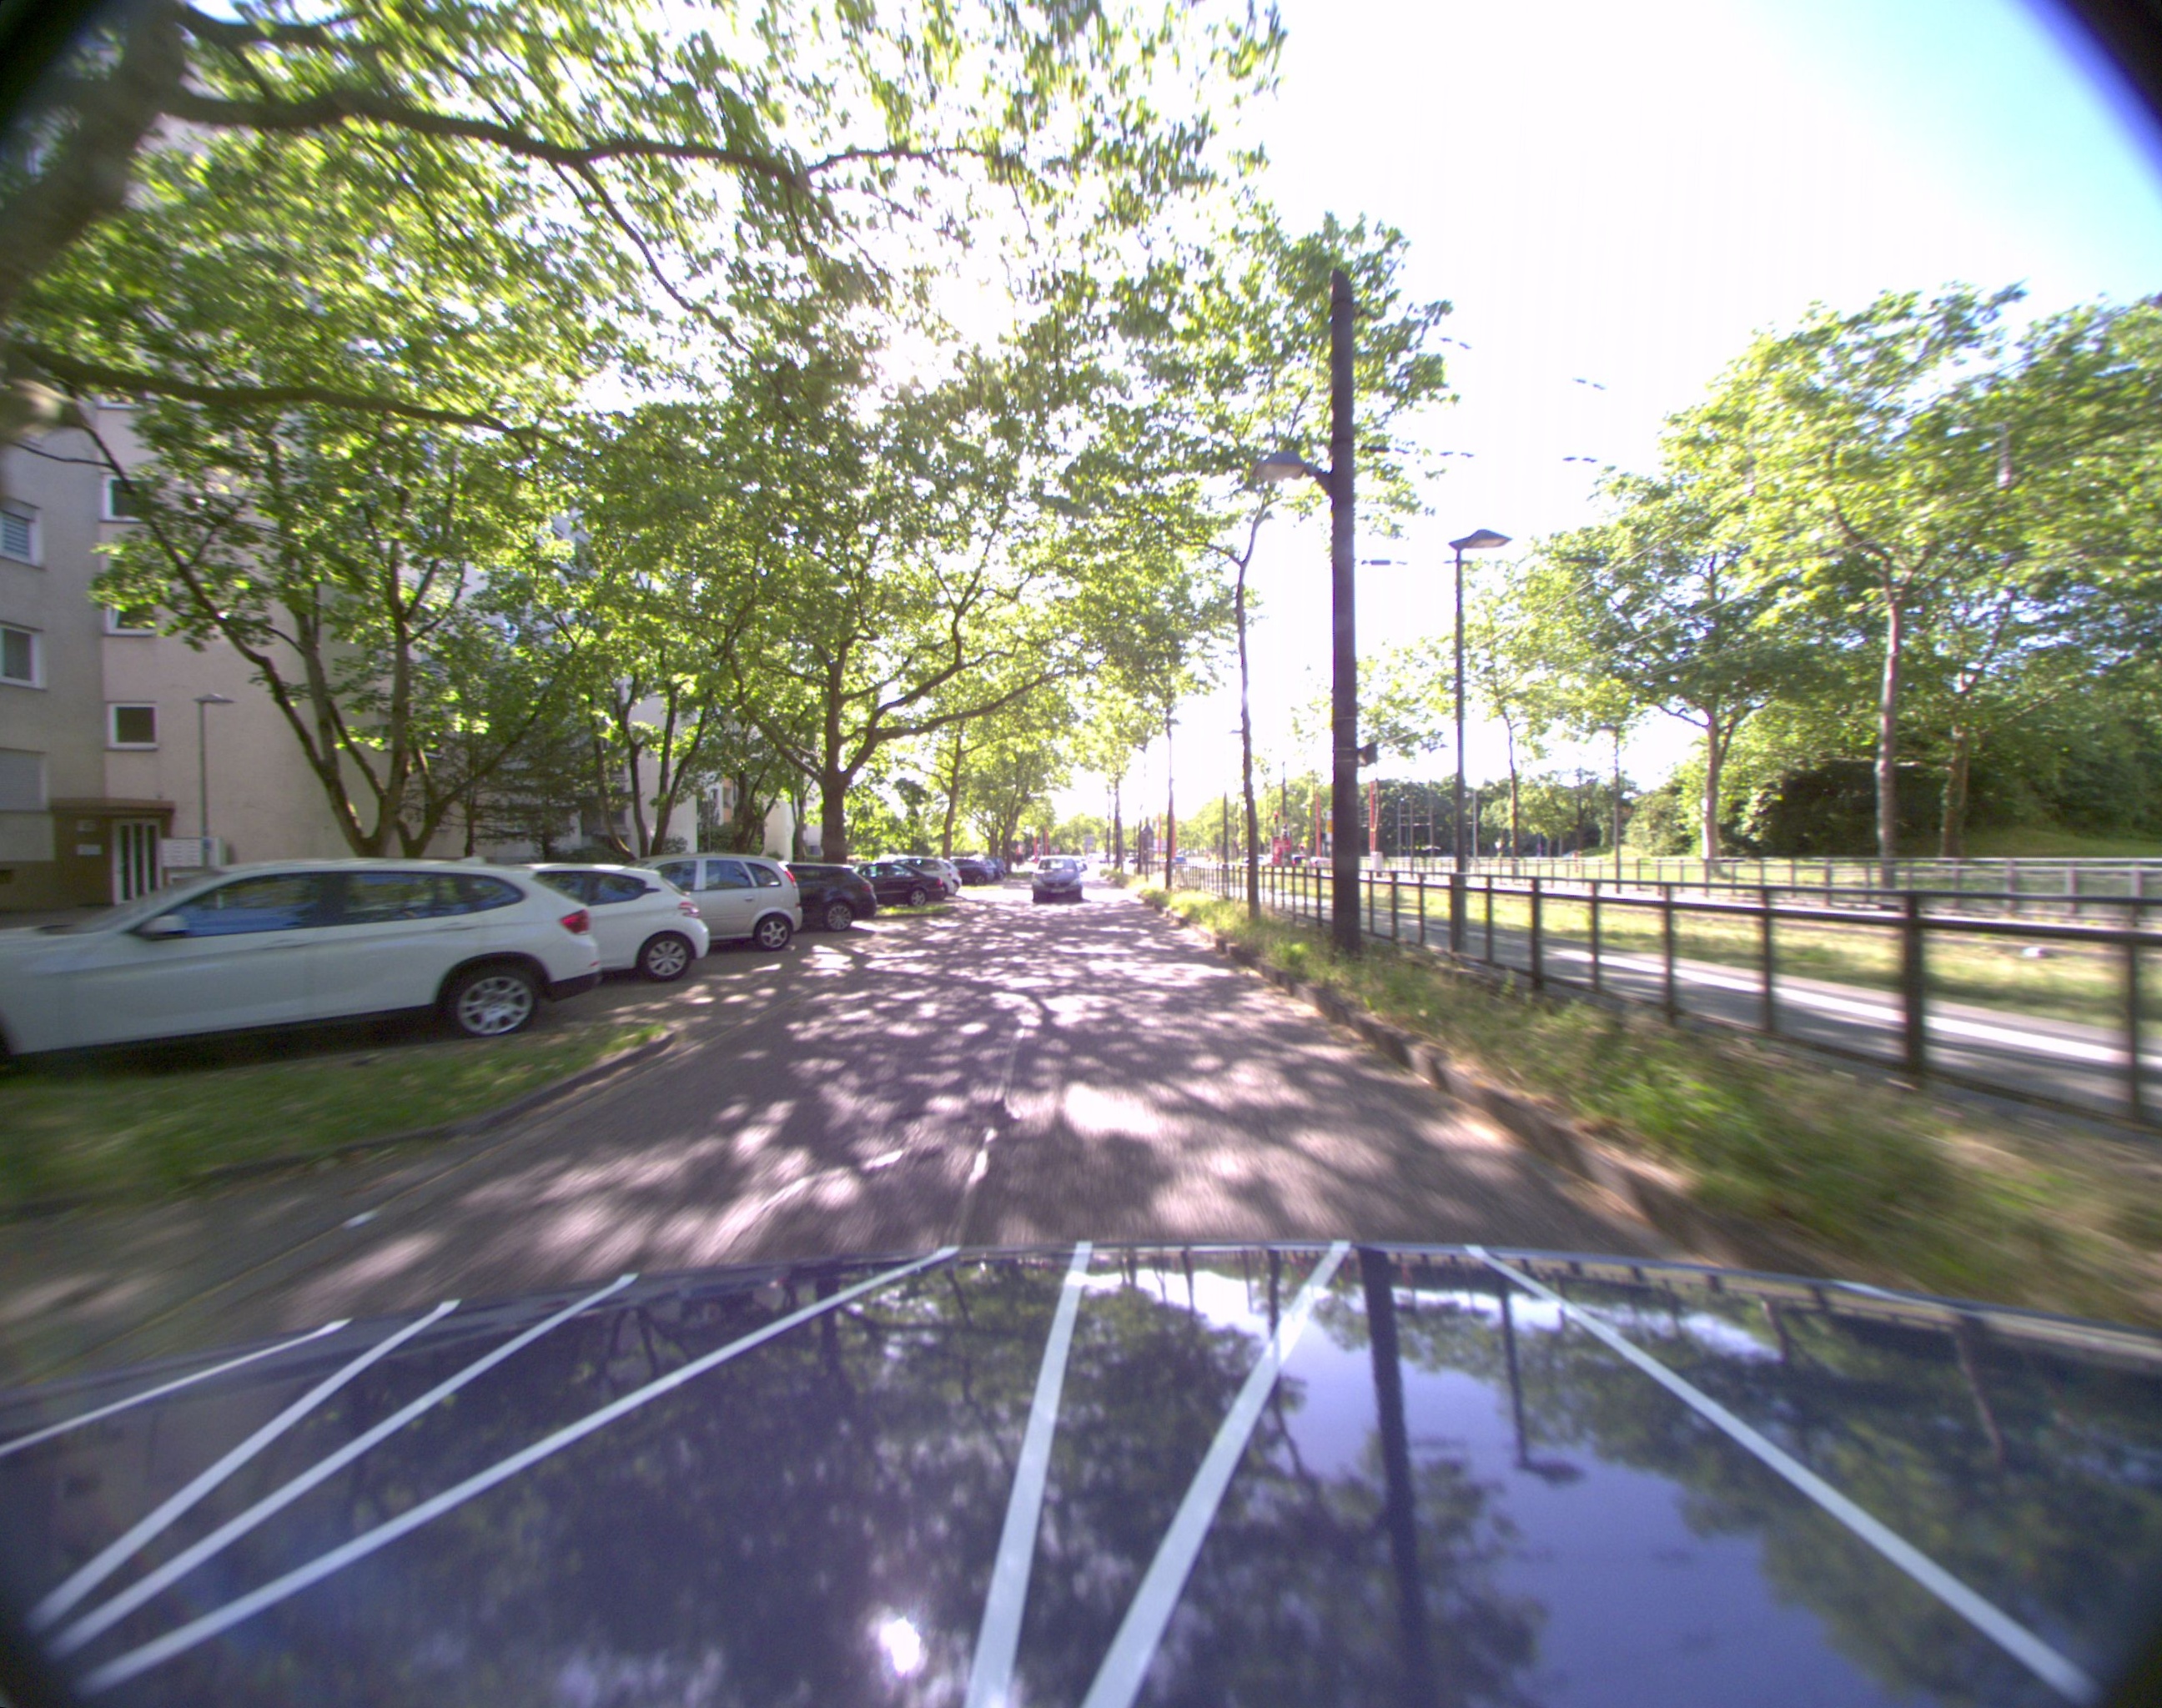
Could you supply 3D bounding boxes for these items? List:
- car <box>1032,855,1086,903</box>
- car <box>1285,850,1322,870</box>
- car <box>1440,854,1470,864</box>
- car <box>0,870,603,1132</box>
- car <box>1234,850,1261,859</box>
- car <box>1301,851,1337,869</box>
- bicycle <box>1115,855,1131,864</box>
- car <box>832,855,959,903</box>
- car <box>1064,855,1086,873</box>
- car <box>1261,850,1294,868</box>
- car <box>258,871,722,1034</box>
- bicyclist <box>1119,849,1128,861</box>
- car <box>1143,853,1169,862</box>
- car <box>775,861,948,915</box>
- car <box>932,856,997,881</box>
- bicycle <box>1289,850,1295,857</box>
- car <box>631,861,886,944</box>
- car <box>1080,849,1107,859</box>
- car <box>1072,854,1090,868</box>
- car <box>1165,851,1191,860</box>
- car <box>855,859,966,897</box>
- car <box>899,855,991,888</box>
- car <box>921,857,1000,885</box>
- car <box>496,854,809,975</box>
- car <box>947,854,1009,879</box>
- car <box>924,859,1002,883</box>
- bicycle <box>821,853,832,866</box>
[{"bbox_3d":[-0.755,0.851,27.605,1.799,1.580,3.762,-1,0,-1],"label":"car"},{"bbox_3d":[18.219,0.483,62.422,1.799,1.598,4.267,0,0,0],"label":"car"},{"bbox_3d":[54.594,0.700,110.933,3.990,1.501,1.803,0,0,26],"label":"car"},{"bbox_3d":[-6.413,0.909,5.907,1.794,1.501,4.222,2,0,42],"label":"car"},{"bbox_3d":[26.998,0.067,123.372,3.990,1.501,1.803,0,0,26],"label":"car"},{"bbox_3d":[20.820,0.488,66.557,1.799,1.501,4.267,0,0,0],"label":"car"},{"bbox_3d":[5.492,0.678,99.231,1.896,1.101,0.704,-1,1,23],"label":"bicycle"},{"bbox_3d":[-6.539,0.858,26.967,4.008,1.566,1.795,1,0,-41],"label":"car"},{"bbox_3d":[-0.564,0.863,65.941,1.799,1.530,3.999,0,0,-2],"label":"car"},{"bbox_3d":[17.563,0.420,68.051,1.799,1.607,4.233,0,0,0],"label":"car"},{"bbox_3d":[-6.656,0.932,8.914,1.826,1.411,4.009,2,0,44],"label":"car"},{"bbox_3d":[5.538,0.133,99.214,0.955,1.469,0.704,-1,1,23],"label":"bicyclist"},{"bbox_3d":[12.662,0.545,128.906,3.990,1.501,1.803,0,0,26],"label":"car"},{"bbox_3d":[-6.370,0.923,22.448,1.795,1.414,4.600,1,0,44],"label":"car"},{"bbox_3d":[-7.232,0.870,47.350,3.592,1.483,1.795,1,0,-42],"label":"car"},{"bbox_3d":[31.449,-0.115,113.397,0.500,1.101,1.800,0,0,2],"label":"bicycle"},{"bbox_3d":[-6.504,0.900,15.565,4.418,1.420,1.946,1,0,-40],"label":"car"},{"bbox_3d":[2.191,0.069,137.770,4.545,1.825,1.803,0,0,26],"label":"car"},{"bbox_3d":[0.033,0.825,89.384,1.788,1.501,4.627,-1,0,3],"label":"car"},{"bbox_3d":[16.772,0.319,131.286,3.990,1.501,1.803,0,0,26],"label":"car"},{"bbox_3d":[-6.839,0.932,30.745,4.009,1.436,1.795,1,0,-42],"label":"car"},{"bbox_3d":[-6.597,0.827,37.263,1.795,1.501,4.187,1,0,43],"label":"car"},{"bbox_3d":[-6.443,0.885,40.840,3.896,1.437,1.795,1,0,-44],"label":"car"},{"bbox_3d":[-6.670,0.833,12.083,4.009,1.580,1.794,1,0,-43],"label":"car"},{"bbox_3d":[-6.827,0.825,50.579,3.734,1.583,1.795,1,0,-41],"label":"car"},{"bbox_3d":[-6.838,0.955,44.262,4.155,1.310,1.795,1,0,-41],"label":"car"},{"bbox_3d":[-23.797,0.506,71.127,0.500,1.101,1.799,4,0,-7],"label":"bicycle"}]
